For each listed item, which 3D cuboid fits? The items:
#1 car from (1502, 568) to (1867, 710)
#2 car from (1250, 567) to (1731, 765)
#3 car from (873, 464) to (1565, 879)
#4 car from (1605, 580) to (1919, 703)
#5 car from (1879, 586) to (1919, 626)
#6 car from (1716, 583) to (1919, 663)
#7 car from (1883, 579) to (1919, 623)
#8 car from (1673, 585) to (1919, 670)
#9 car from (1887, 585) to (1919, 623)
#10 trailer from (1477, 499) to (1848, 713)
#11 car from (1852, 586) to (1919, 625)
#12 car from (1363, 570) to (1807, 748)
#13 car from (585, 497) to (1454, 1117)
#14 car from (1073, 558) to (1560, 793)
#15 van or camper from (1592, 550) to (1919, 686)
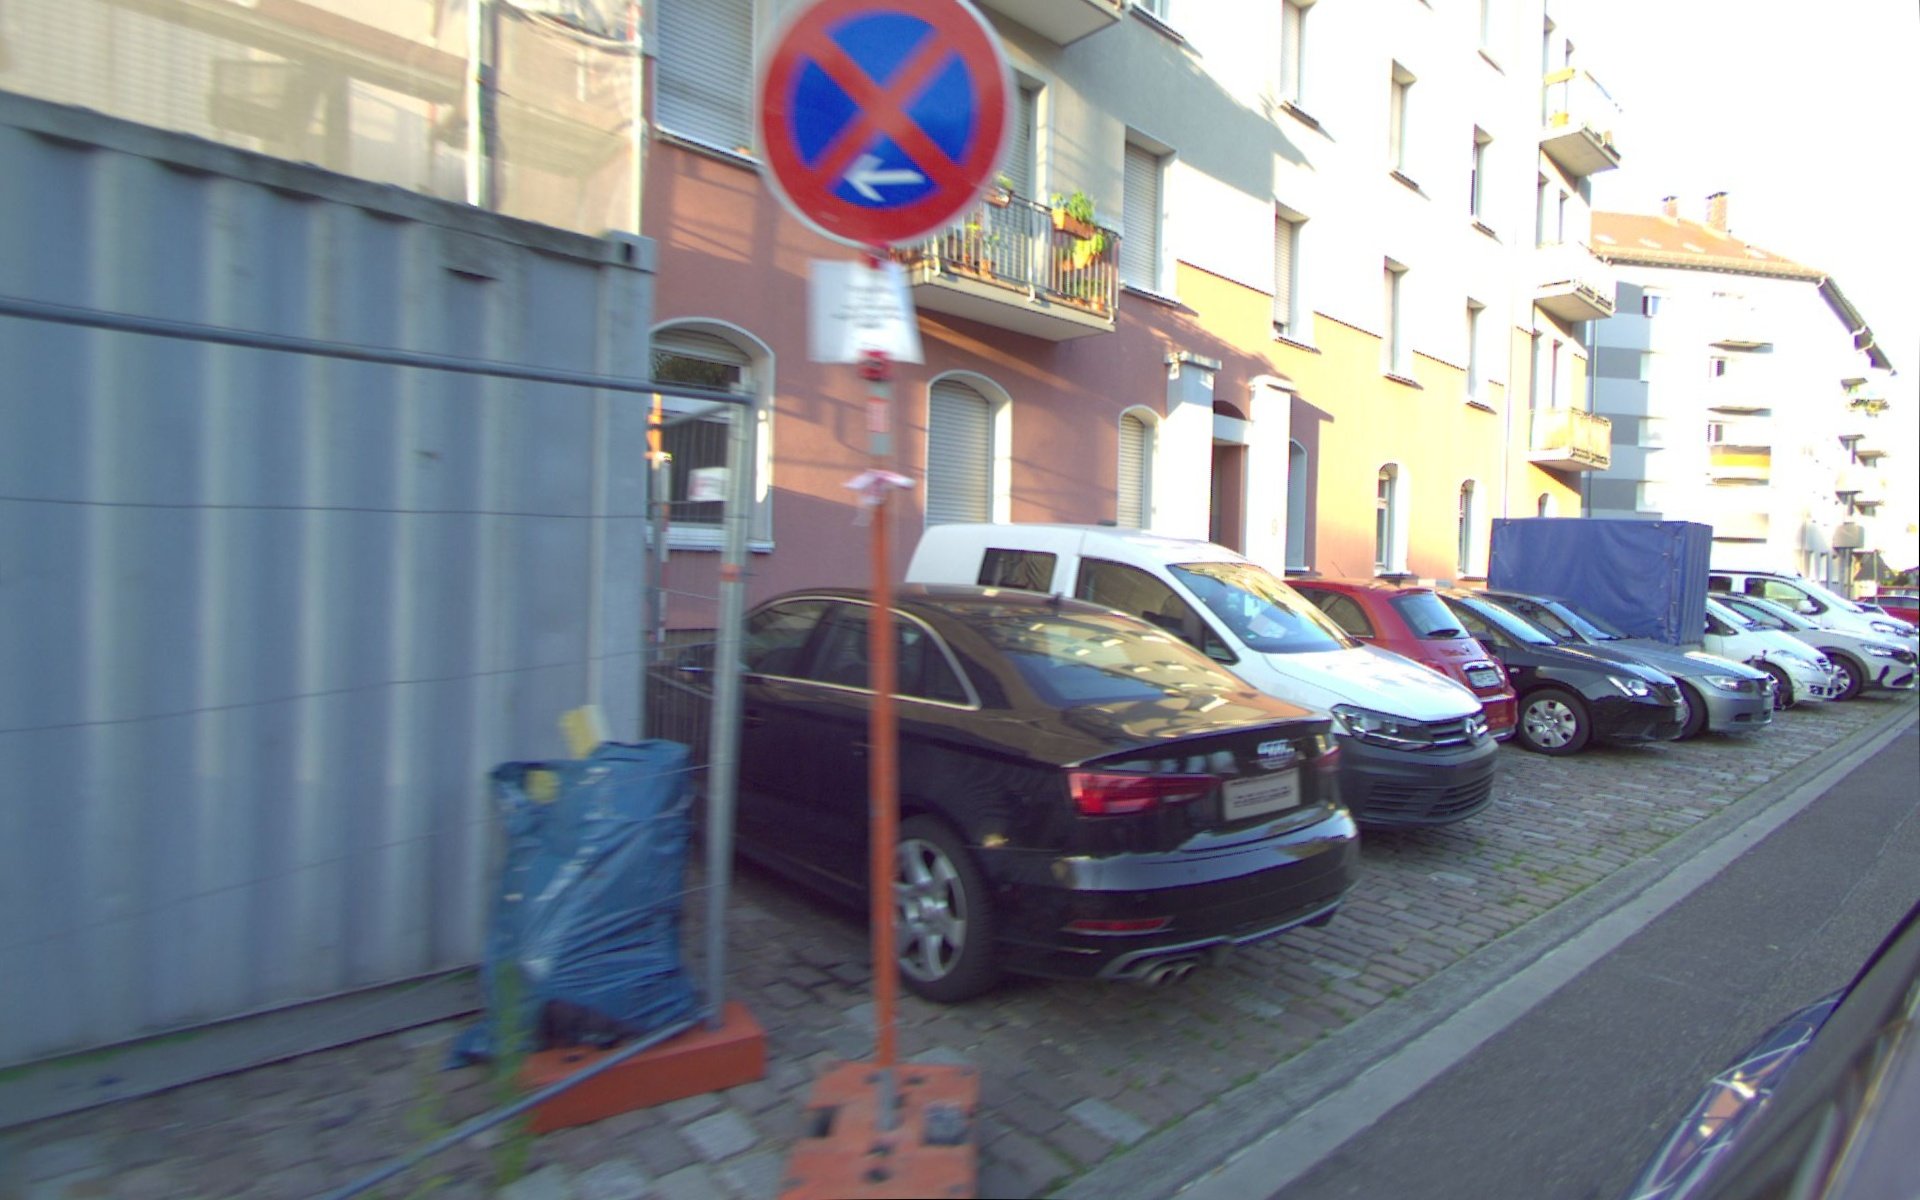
[{"bbox_3d":[10.360,0.412,14.673,1.966,1.749,3.992,-2,2,-43],"label":"car"},{"bbox_3d":[5.180,0.487,10.254,1.759,1.591,3.967,0,1,-44],"label":"car"},{"bbox_3d":[1.491,0.212,7.032,1.792,2.004,4.270,1,3,-45],"label":"car"},{"bbox_3d":[12.717,0.532,15.908,1.966,1.660,3.992,-1,2,-43],"label":"car"},{"bbox_3d":[42.138,0.300,43.308,1.966,1.682,3.992,0,1,-43],"label":"car"},{"bbox_3d":[19.550,0.454,22.557,1.824,1.605,4.105,0,1,-44],"label":"car"},{"bbox_3d":[46.036,0.097,46.837,1.965,2.025,4.683,0,1,-40],"label":"car"},{"bbox_3d":[17.595,0.494,21.224,1.966,1.549,3.992,0,1,-43],"label":"car"},{"bbox_3d":[43.925,0.203,44.907,1.755,1.649,3.991,0,1,-43],"label":"car"},{"bbox_3d":[9.009,-0.052,13.157,1.909,2.365,3.571,0,4,-44],"label":"trailer"},{"bbox_3d":[39.967,0.243,41.921,1.889,1.560,4.310,0,1,-40],"label":"car"},{"bbox_3d":[6.998,0.510,11.611,1.872,1.658,3.990,0,1,-44],"label":"car"},{"bbox_3d":[-0.154,0.492,4.868,1.838,1.636,4.163,0,1,-39],"label":"car"},{"bbox_3d":[2.977,0.475,8.973,1.716,1.630,3.696,0,1,-43],"label":"car"},{"bbox_3d":[14.376,0.222,18.098,2.005,2.122,4.841,0,1,-42],"label":"van or camper"}]
